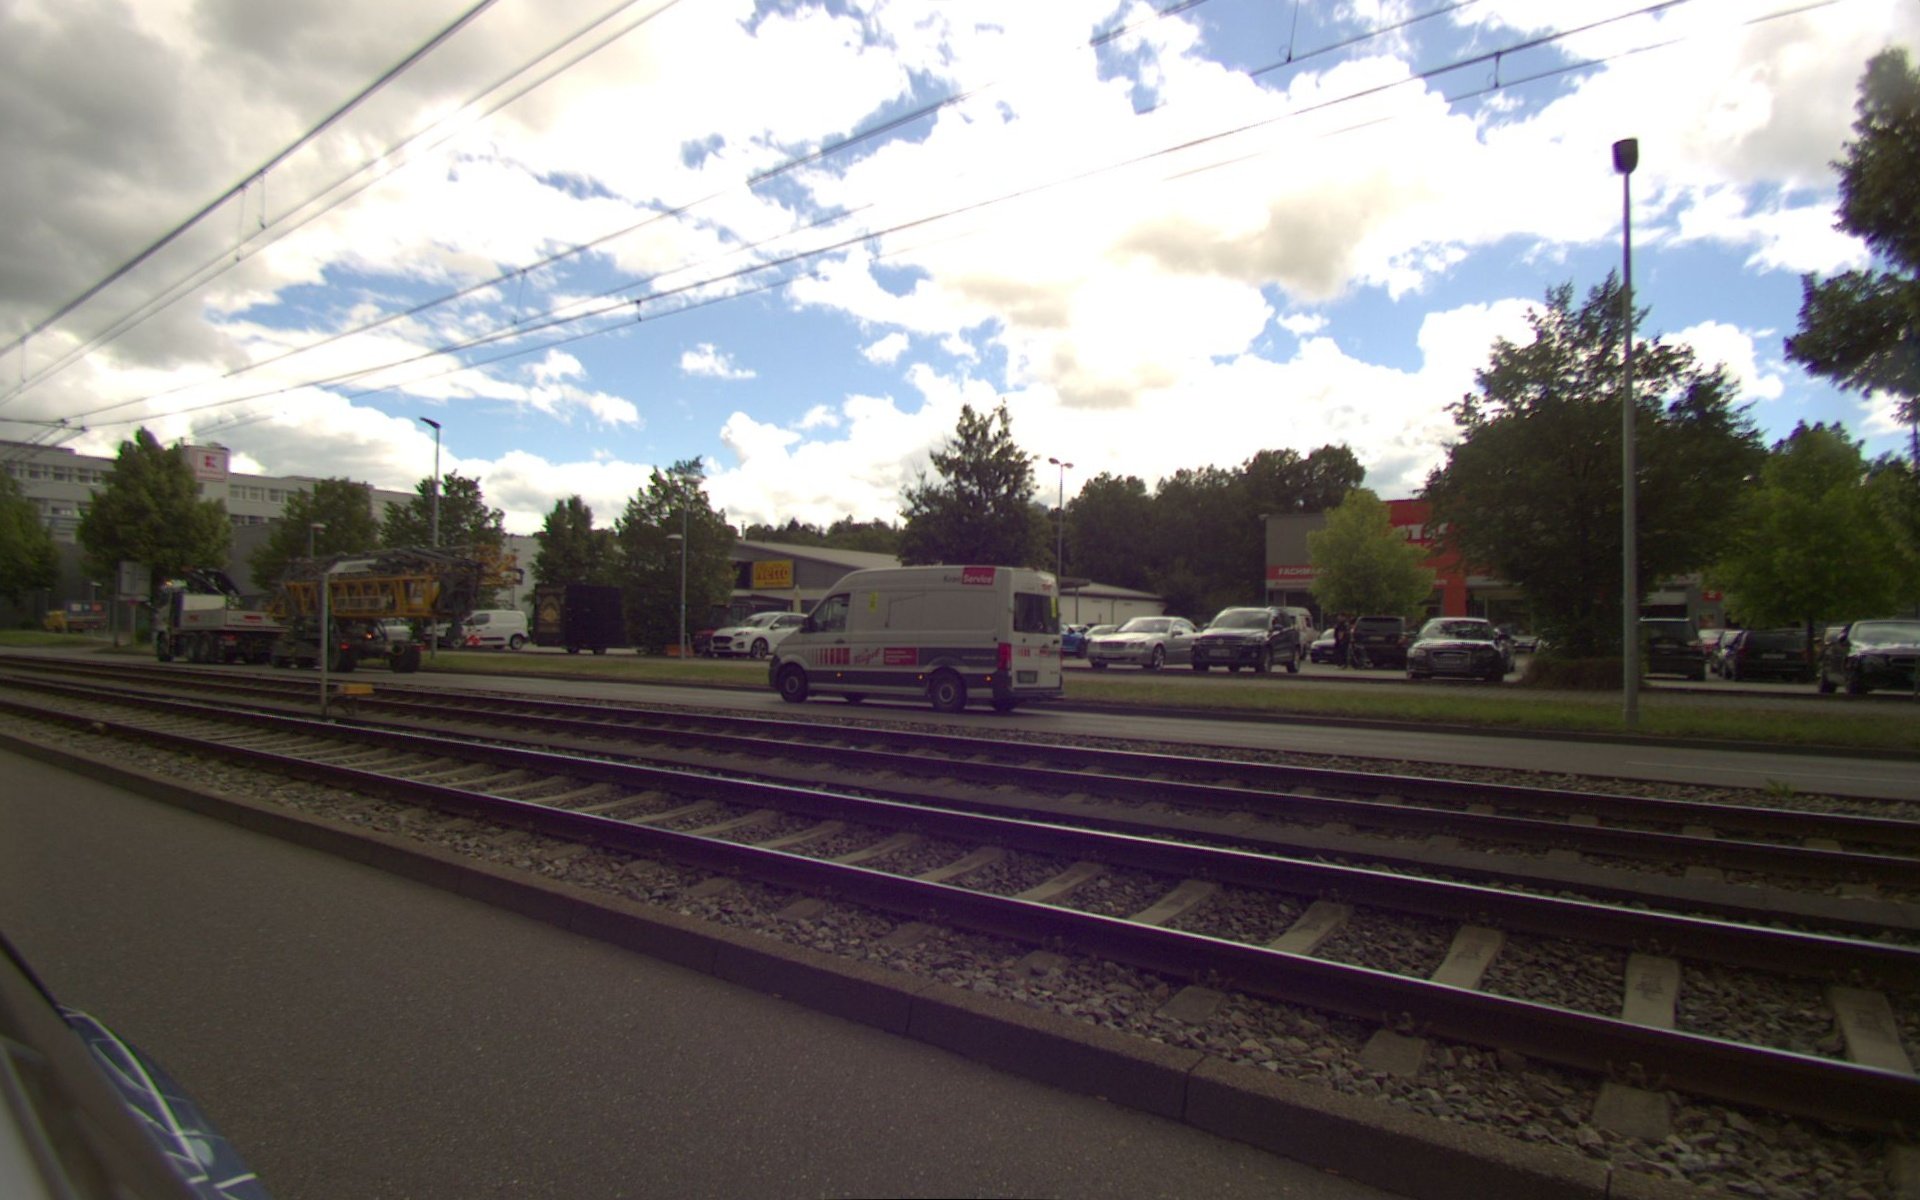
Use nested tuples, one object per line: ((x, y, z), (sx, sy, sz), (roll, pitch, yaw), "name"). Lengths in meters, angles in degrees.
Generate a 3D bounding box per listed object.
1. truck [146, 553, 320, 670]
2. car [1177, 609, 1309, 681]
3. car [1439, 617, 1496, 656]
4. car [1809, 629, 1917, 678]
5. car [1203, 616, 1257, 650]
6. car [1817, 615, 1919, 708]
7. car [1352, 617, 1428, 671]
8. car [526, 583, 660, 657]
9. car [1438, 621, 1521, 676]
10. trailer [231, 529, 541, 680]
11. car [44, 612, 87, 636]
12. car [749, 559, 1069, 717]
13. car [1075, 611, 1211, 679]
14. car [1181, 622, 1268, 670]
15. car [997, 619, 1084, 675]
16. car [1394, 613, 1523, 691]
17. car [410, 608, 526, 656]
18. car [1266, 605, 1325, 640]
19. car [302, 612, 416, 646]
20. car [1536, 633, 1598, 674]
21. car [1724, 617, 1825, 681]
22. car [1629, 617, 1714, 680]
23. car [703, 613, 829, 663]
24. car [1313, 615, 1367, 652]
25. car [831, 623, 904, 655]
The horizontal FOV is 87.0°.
((-27.678, 0.516, 38.376), (8.616, 3.997, 2.865), (-1, -3, 37), "truck")
((7.093, 1.049, 25.107), (1.933, 1.518, 3.952), (-1, 0, 35), "car")
((23.700, 1.671, 47.216), (1.916, 1.634, 3.698), (-1, 0, 34), "car")
((27.835, 1.636, 31.333), (1.947, 1.400, 3.697), (-1, -3, 34), "car")
((14.488, 1.723, 54.168), (1.718, 1.634, 3.698), (-1, 0, 33), "car")
((16.803, 1.013, 17.826), (2.191, 1.364, 4.335), (-1, 0, 35), "car")
((14.325, 1.449, 33.635), (1.697, 1.660, 3.697), (-1, -3, 33), "car")
((-14.529, 0.853, 40.268), (2.284, 2.769, 4.430), (-1, -3, 36), "car")
((16.488, 1.469, 32.038), (1.947, 1.509, 3.698), (-1, 0, 34), "car")
((-18.391, 0.290, 31.593), (14.397, 3.927, 2.647), (-1, -4, 36), "trailer")
((-79.391, 2.138, 89.772), (3.991, 2.029, 1.976), (-1, -3, 35), "car")
((-1.074, 0.693, 18.610), (5.986, 2.518, 1.852), (-1, -4, 35), "car")
((4.815, 1.090, 26.275), (1.998, 1.518, 3.952), (-1, 0, 35), "car")
((9.619, 1.616, 36.640), (1.947, 1.501, 3.698), (-1, 0, 34), "car")
((3.310, 1.843, 40.997), (1.947, 2.029, 3.698), (-1, 0, 34), "car")
((11.019, 1.061, 22.220), (1.933, 1.432, 3.952), (-1, 0, 35), "car")
((-22.223, 1.398, 45.840), (1.998, 1.933, 4.303), (-1, 0, 39), "car")
((17.133, 1.140, 51.581), (1.916, 1.634, 3.698), (-1, 0, 34), "car")
((-30.181, 1.439, 50.922), (1.998, 1.504, 4.556), (-1, 0, 39), "car")
((20.796, 1.792, 34.618), (1.661, 1.140, 3.698), (-1, 0, 33), "car")
((22.697, 1.335, 28.316), (1.821, 1.660, 3.697), (-1, -3, 33), "car")
((20.064, 1.348, 28.658), (1.821, 1.660, 3.697), (-1, -3, 33), "car")
((-6.690, 1.279, 35.347), (1.790, 1.518, 4.435), (-1, 0, 33), "car")
((18.944, 1.636, 50.370), (1.718, 1.634, 3.698), (-1, 0, 33), "car")
((-4.904, 2.055, 54.315), (1.773, 1.518, 3.953), (-1, 0, 35), "car")
